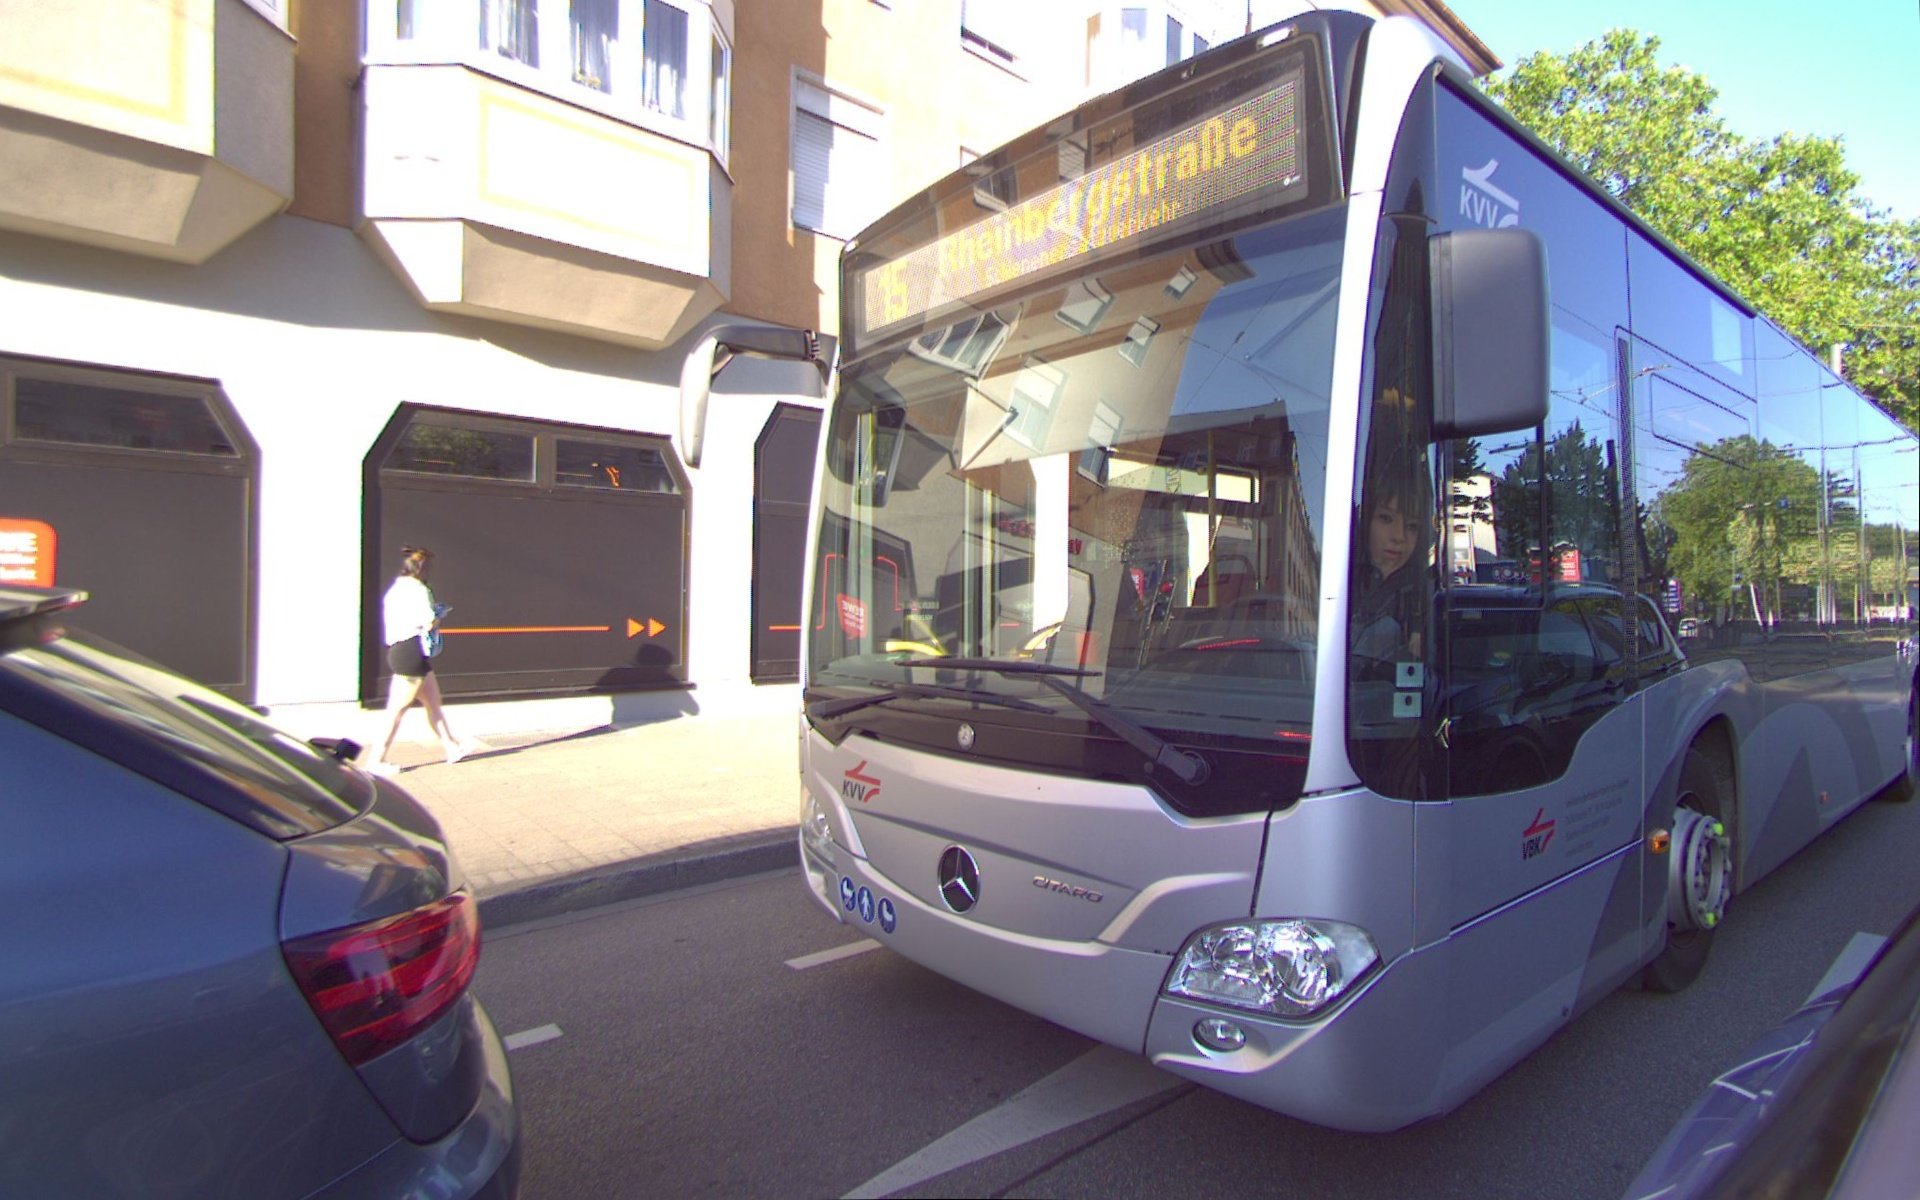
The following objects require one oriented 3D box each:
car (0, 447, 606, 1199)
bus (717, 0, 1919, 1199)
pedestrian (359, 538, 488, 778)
[{"bbox_3d":[-2.590,0.638,0.643,4.151,1.572,1.700,0,-1,-41],"label":"car"},{"bbox_3d":[6.507,-0.225,8.643,17.432,3.189,2.771,0,1,-41],"label":"bus"},{"bbox_3d":[-3.823,0.378,7.213,0.579,1.603,0.657,2,1,44],"label":"pedestrian"}]
